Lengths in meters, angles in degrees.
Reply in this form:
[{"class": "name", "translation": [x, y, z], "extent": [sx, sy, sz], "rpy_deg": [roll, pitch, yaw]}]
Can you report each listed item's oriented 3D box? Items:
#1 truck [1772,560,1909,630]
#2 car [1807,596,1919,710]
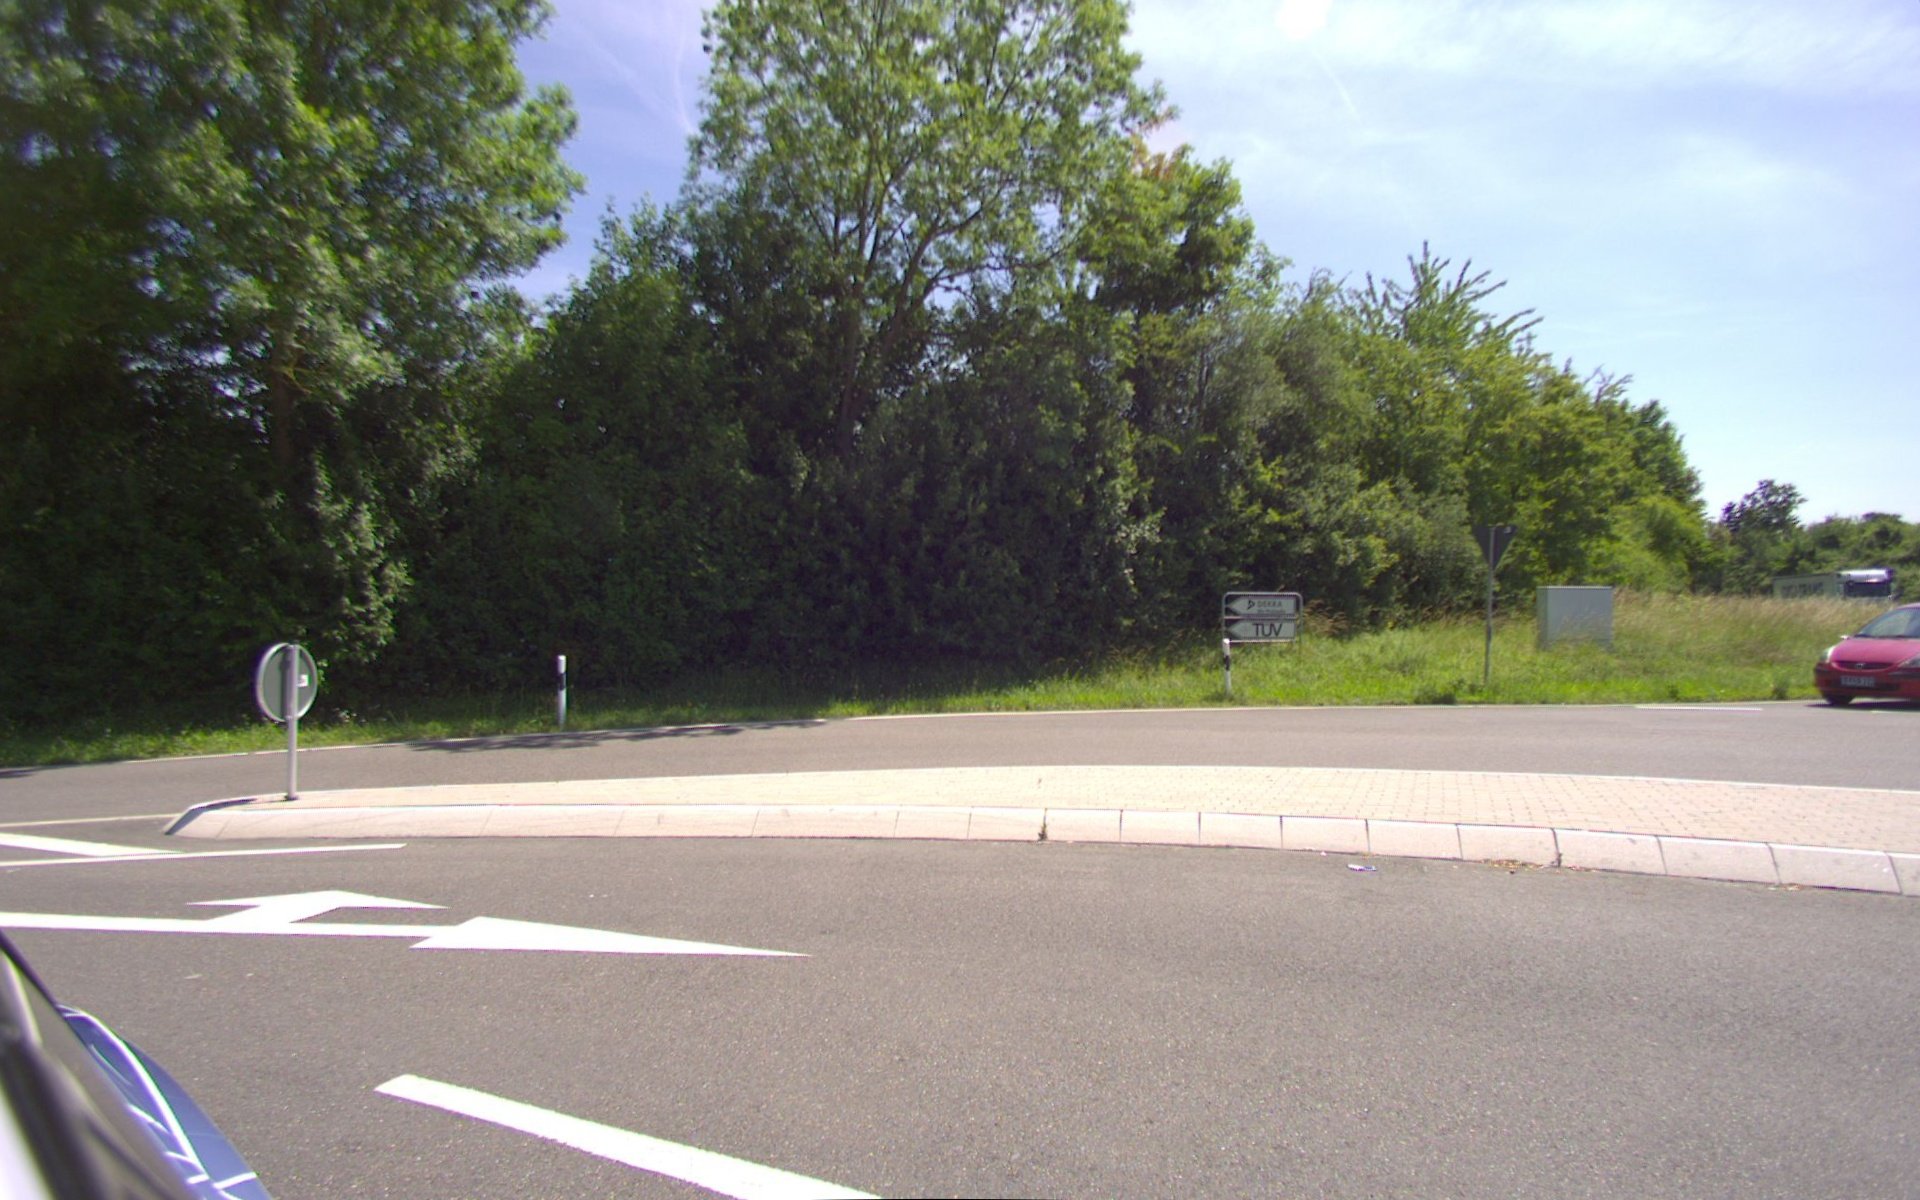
[{"class": "truck", "translation": [64.458, -0.146, 74.695], "extent": [3.127, 4.480, 16.311], "rpy_deg": [-3, -2, 25]}, {"class": "car", "translation": [14.407, 0.708, 14.492], "extent": [3.768, 1.510, 1.554], "rpy_deg": [0, -2, -15]}]
